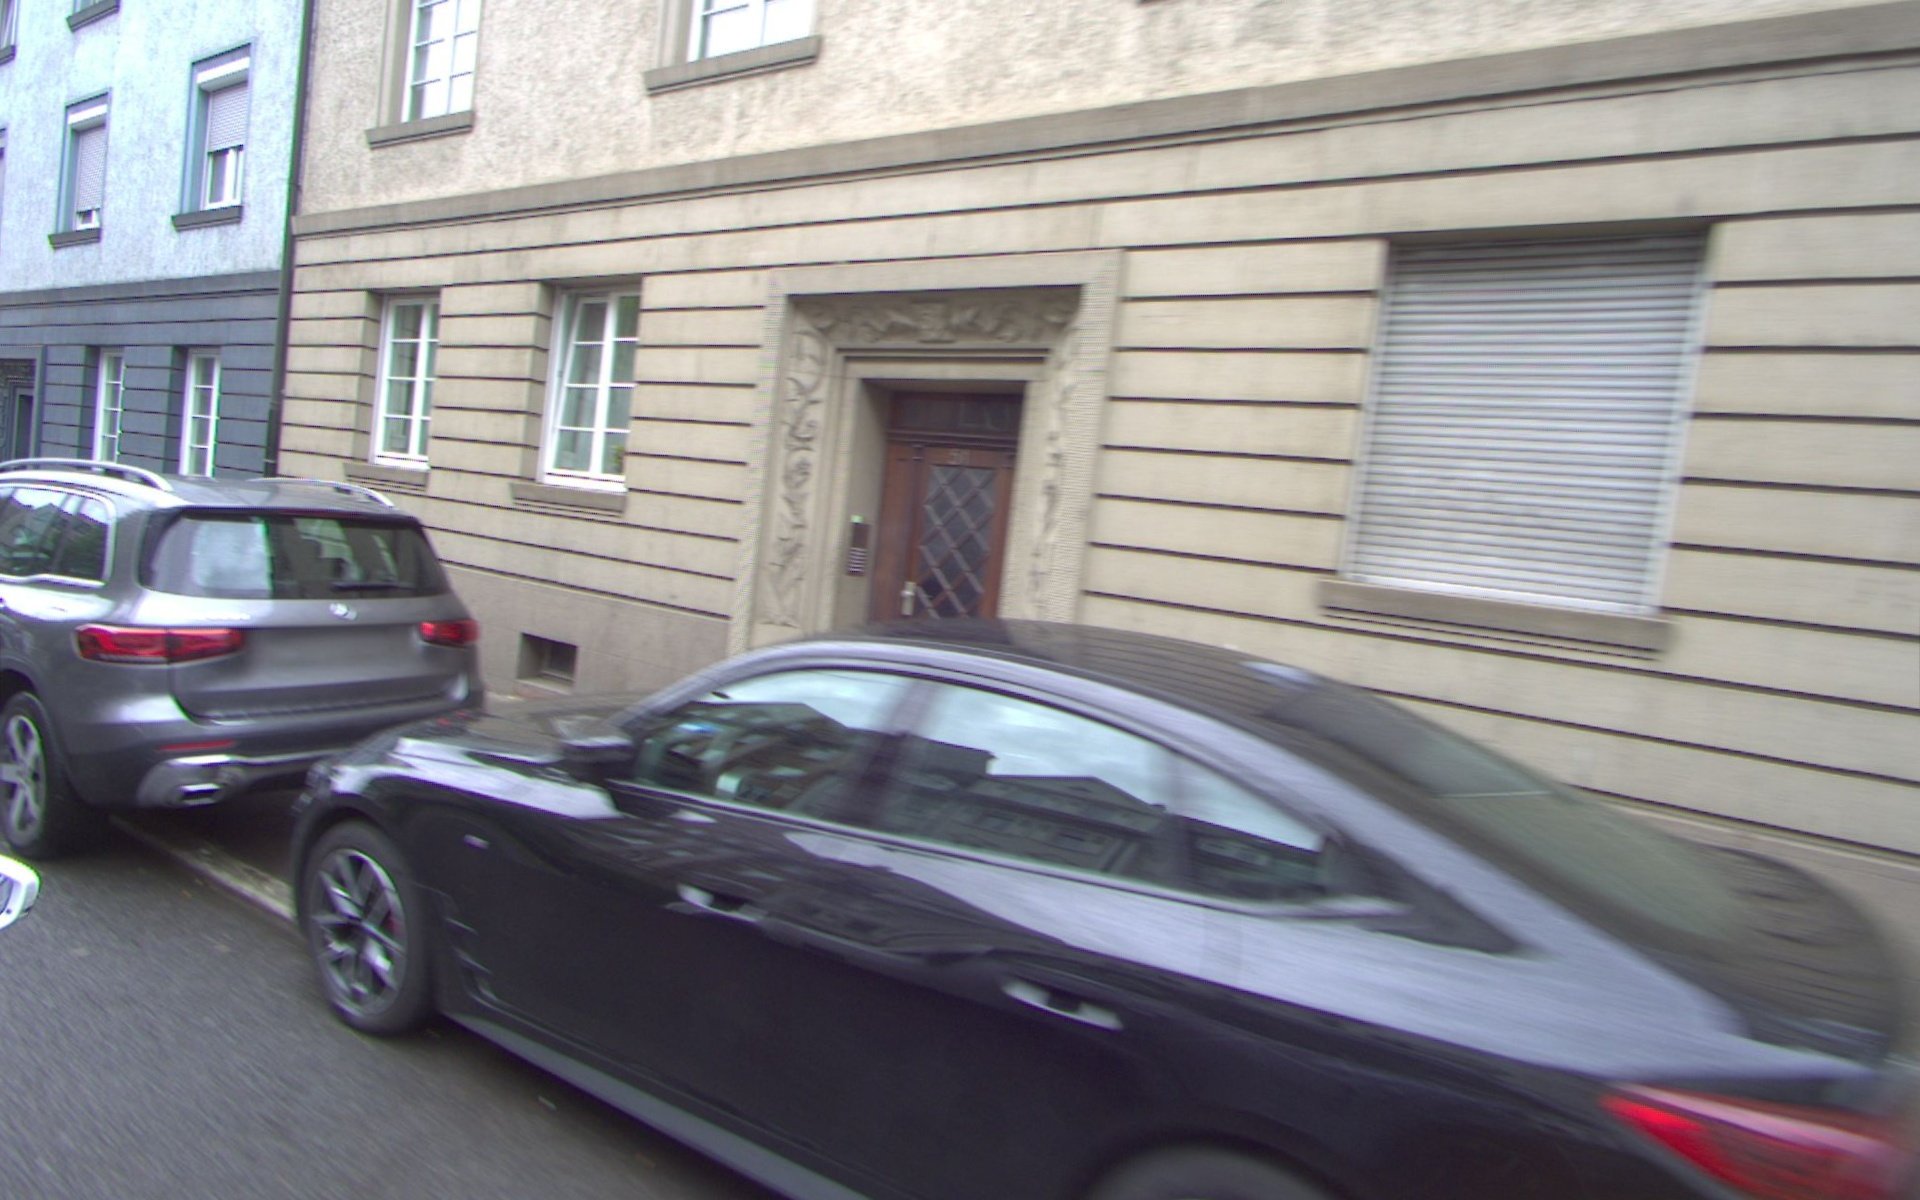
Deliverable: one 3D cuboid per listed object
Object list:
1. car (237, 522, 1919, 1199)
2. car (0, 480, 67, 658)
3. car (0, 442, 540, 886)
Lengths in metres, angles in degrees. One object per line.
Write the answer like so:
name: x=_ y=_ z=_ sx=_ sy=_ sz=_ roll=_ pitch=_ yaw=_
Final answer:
car: x=-0.110 y=0.676 z=3.099 sx=4.314 sy=1.429 sz=1.840 roll=7 pitch=4 yaw=30
car: x=-9.800 y=-0.445 z=8.940 sx=3.907 sy=1.450 sz=1.728 roll=7 pitch=4 yaw=31
car: x=-4.507 y=0.077 z=5.582 sx=4.137 sy=1.643 sz=1.841 roll=6 pitch=3 yaw=30
